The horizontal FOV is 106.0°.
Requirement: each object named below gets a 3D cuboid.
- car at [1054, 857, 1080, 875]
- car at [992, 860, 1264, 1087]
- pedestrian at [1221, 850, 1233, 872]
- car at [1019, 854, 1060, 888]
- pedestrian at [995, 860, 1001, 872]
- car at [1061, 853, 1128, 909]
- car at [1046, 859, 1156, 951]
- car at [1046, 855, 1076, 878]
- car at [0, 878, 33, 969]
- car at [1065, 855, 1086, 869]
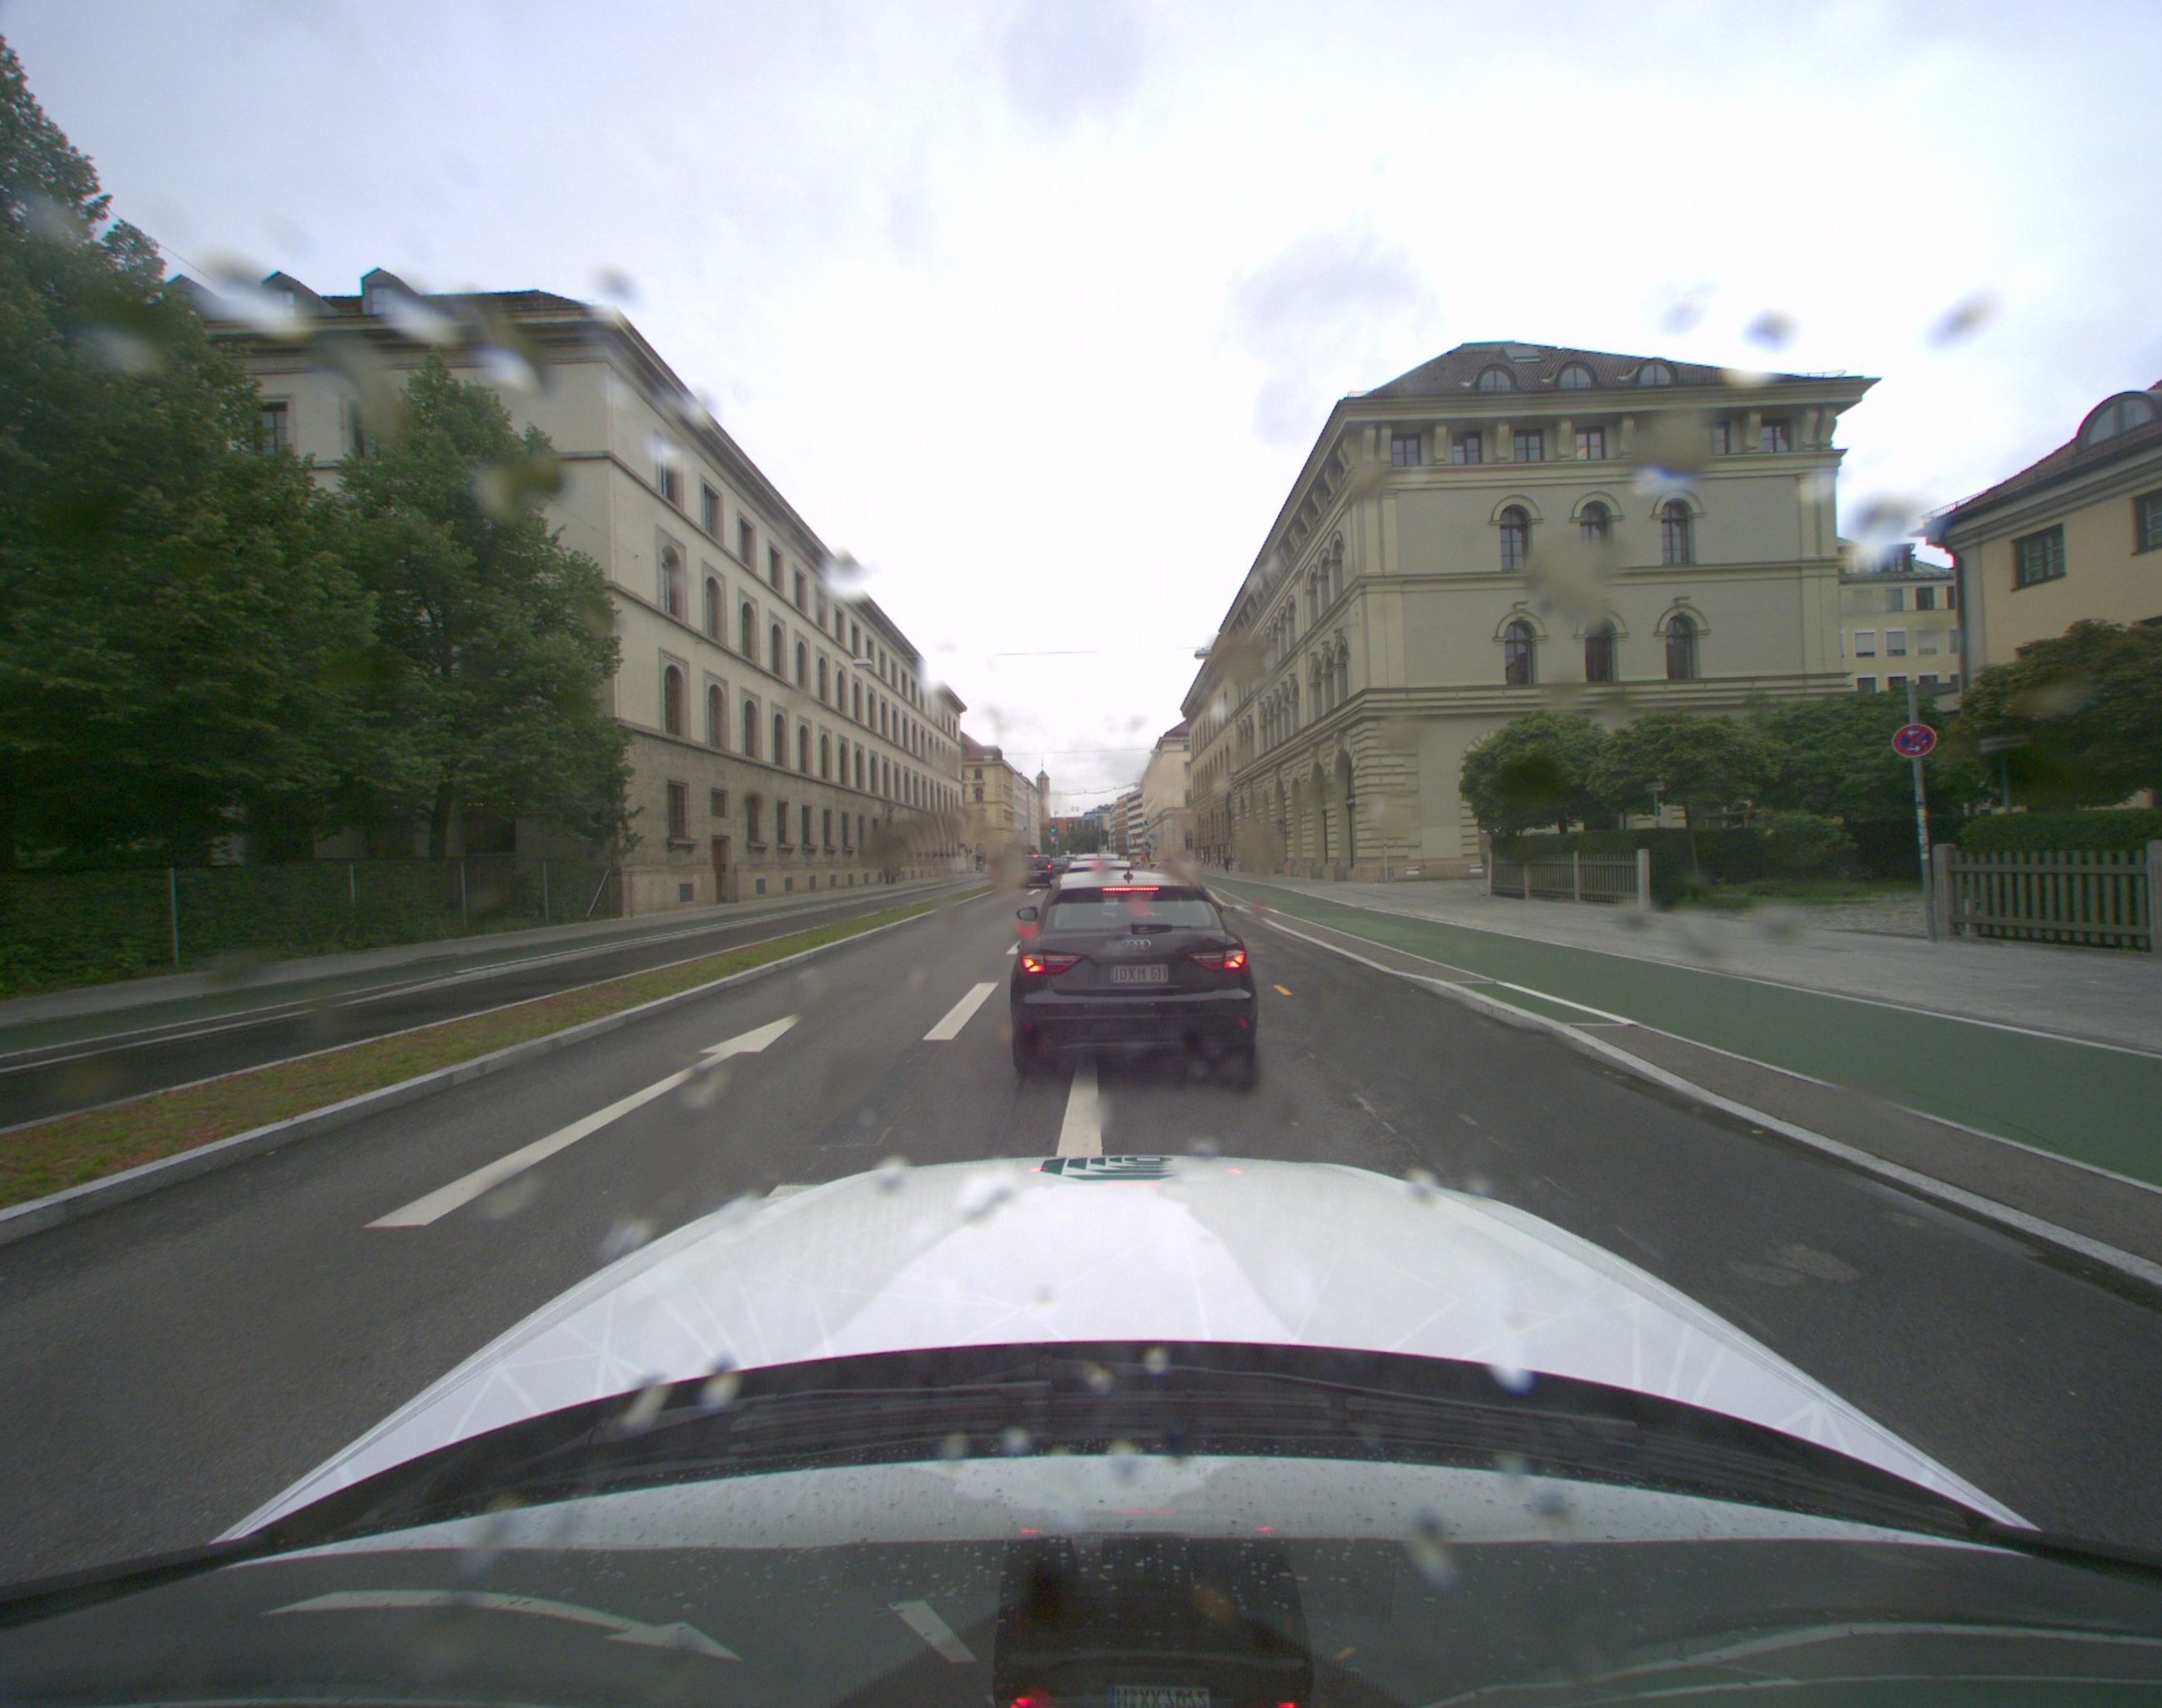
[{"bbox_3d":[-1.177,1.041,71.173,1.986,1.444,4.002,-2,0,2],"label":"car"},{"bbox_3d":[0.351,0.777,7.181,1.724,1.403,4.001,0,0,1],"label":"car"},{"bbox_3d":[11.000,0.506,61.436,0.707,1.618,0.754,-2,0,1],"label":"pedestrian"},{"bbox_3d":[-2.030,0.820,41.194,1.758,1.616,4.031,-1,0,1],"label":"car"},{"bbox_3d":[-12.773,1.846,125.276,0.653,1.805,0.727,-2,0,1],"label":"pedestrian"},{"bbox_3d":[0.410,0.706,23.185,1.724,1.461,4.001,0,0,1],"label":"car"},{"bbox_3d":[0.364,0.821,14.795,1.724,1.403,4.001,0,0,1],"label":"car"},{"bbox_3d":[-1.483,0.906,61.458,1.986,1.627,4.002,-2,0,2],"label":"car"},{"bbox_3d":[-21.887,1.357,14.439,4.247,1.649,1.805,-2,0,1],"label":"car"},{"bbox_3d":[-0.581,0.811,89.029,1.986,1.444,4.002,-2,0,2],"label":"car"}]
